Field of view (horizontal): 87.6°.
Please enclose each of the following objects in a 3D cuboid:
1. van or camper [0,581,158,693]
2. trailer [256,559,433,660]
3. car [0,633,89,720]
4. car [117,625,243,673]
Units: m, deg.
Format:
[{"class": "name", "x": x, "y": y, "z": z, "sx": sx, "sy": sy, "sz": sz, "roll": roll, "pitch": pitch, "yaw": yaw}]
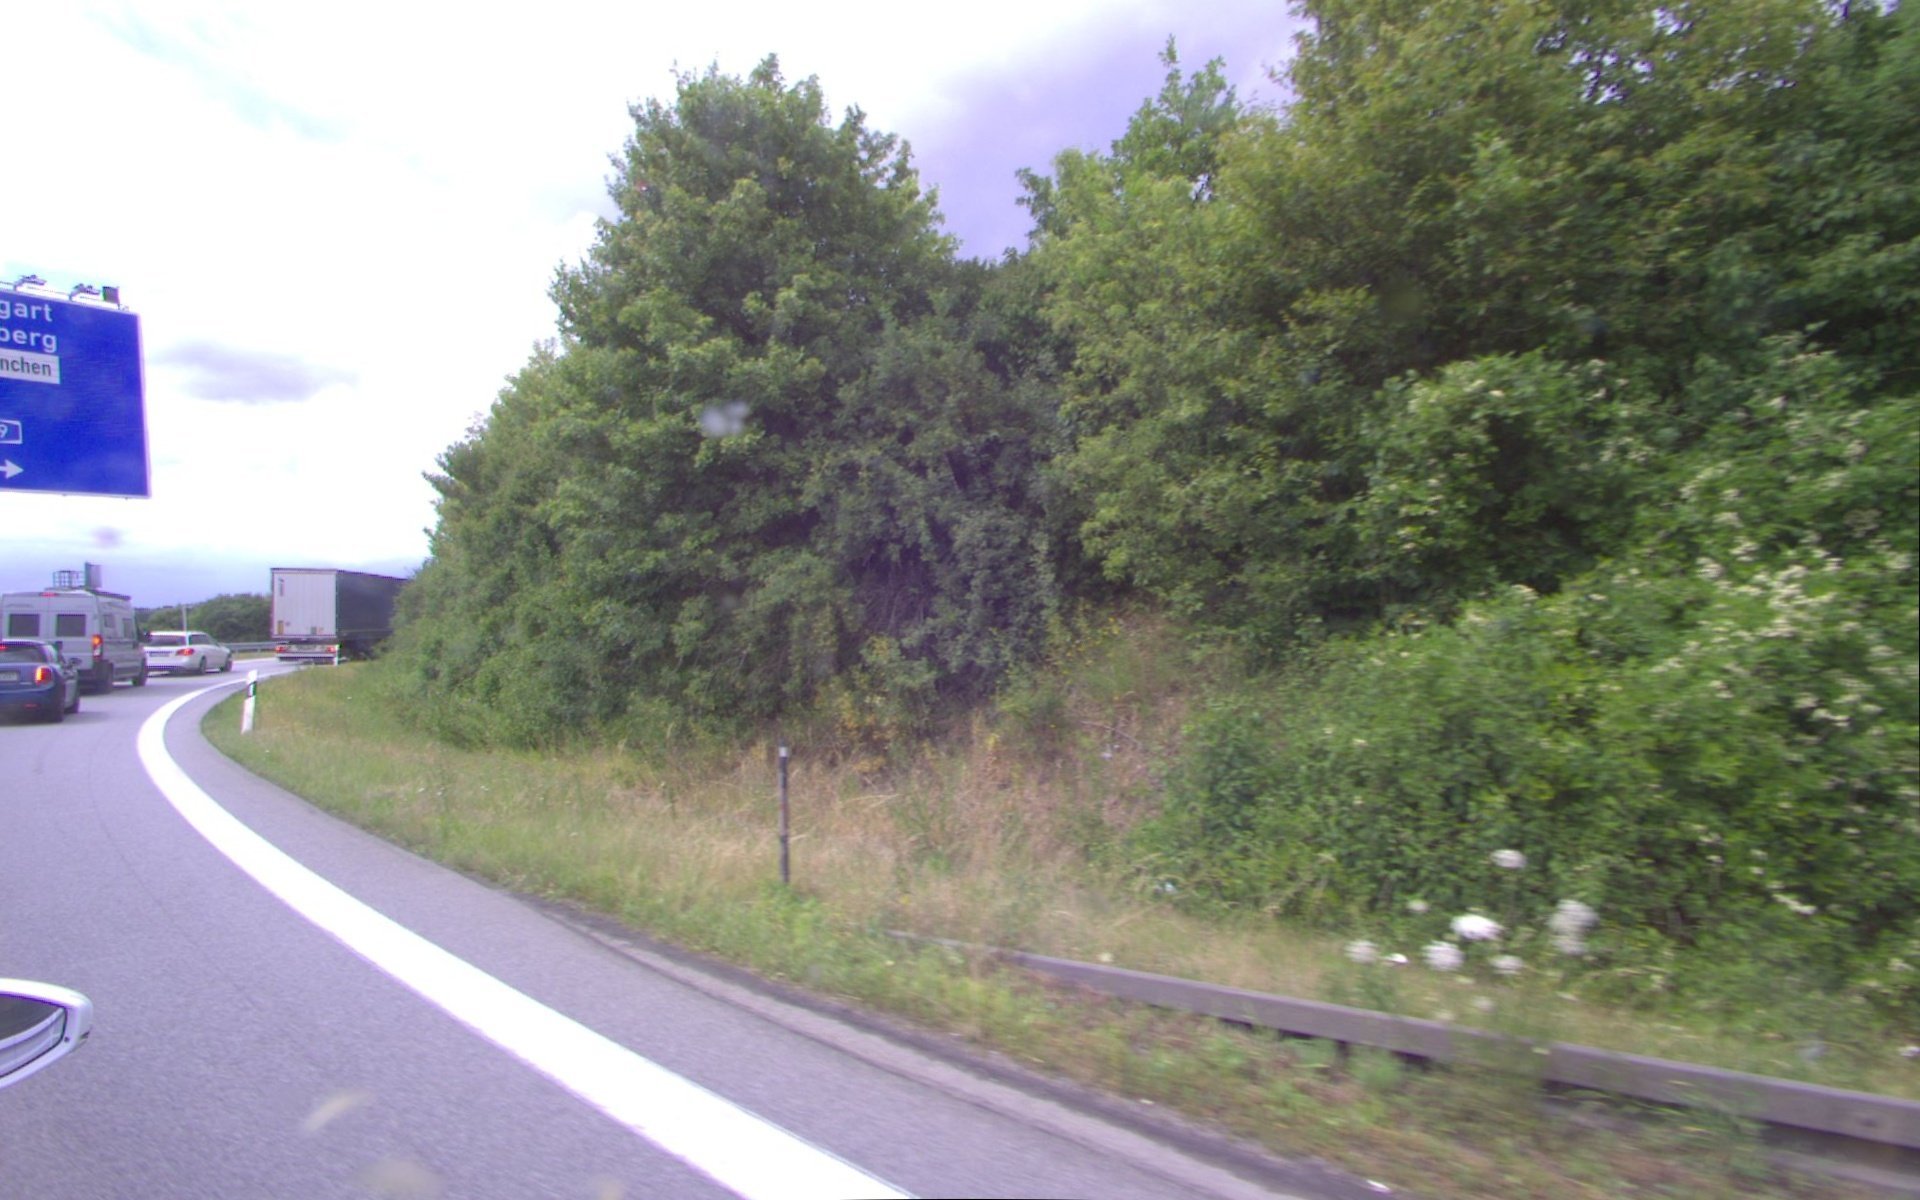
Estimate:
[{"class": "van or camper", "x": -23.159, "y": 0.915, "z": 26.407, "sx": 2.269, "sy": 2.602, "sz": 6.128, "roll": 0, "pitch": -1, "yaw": -31}, {"class": "trailer", "x": -29.298, "y": 0.562, "z": 48.616, "sx": 3.280, "sy": 4.247, "sz": 13.021, "roll": 0, "pitch": -1, "yaw": -13}, {"class": "car", "x": -17.044, "y": 1.322, "z": 18.064, "sx": 1.714, "sy": 1.437, "sz": 3.640, "roll": 1, "pitch": -2, "yaw": -37}, {"class": "car", "x": -27.128, "y": 1.657, "z": 35.040, "sx": 2.176, "sy": 1.521, "sz": 4.775, "roll": 0, "pitch": -1, "yaw": -21}]
